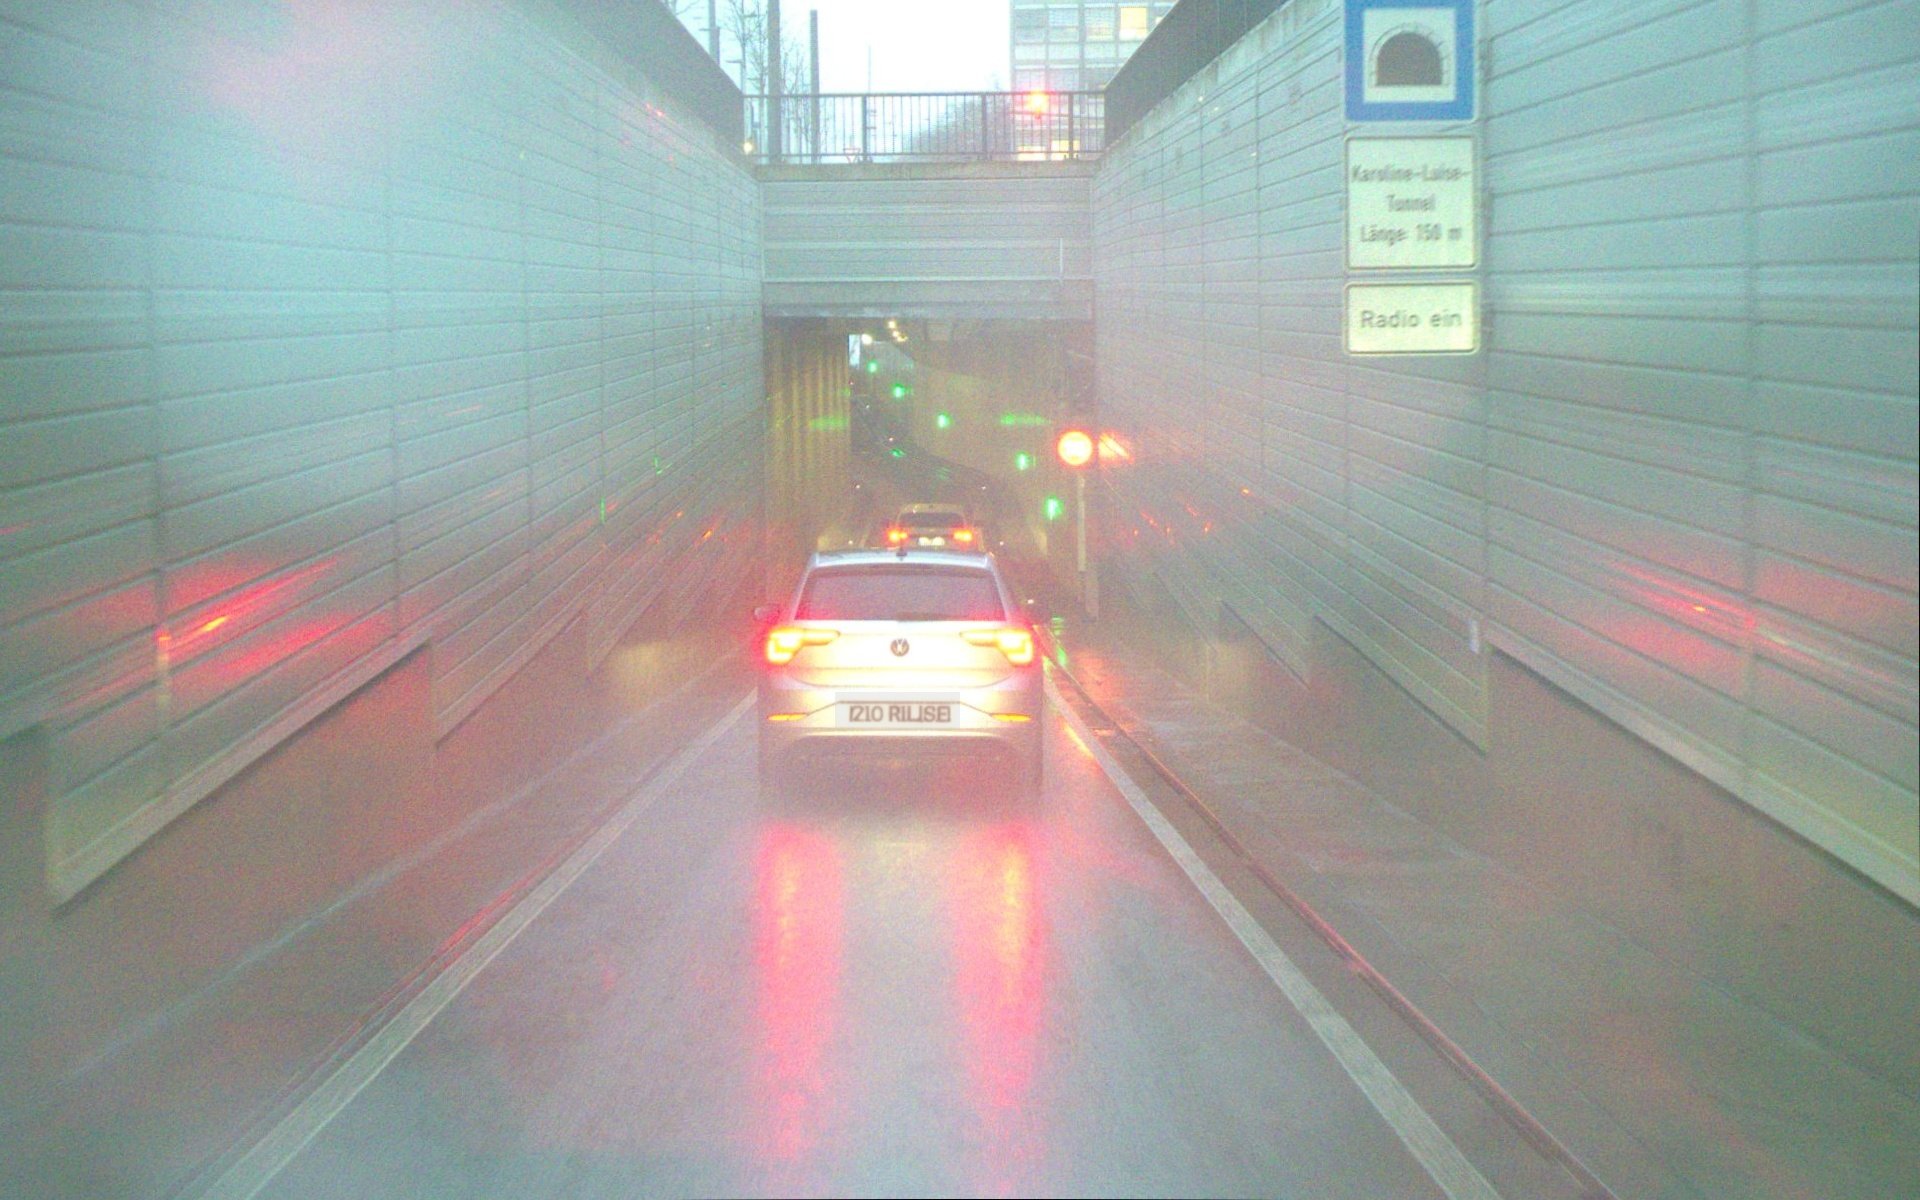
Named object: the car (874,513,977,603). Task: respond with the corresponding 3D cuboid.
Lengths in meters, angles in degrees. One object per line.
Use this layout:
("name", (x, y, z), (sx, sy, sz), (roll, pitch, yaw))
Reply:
("car", (-0.706, -0.850, 67.594), (1.919, 1.480, 4.001), (1, 5, -2))

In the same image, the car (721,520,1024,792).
("car", (-0.469, 0.277, 21.771), (1.722, 1.474, 4.000), (1, 2, 1))
